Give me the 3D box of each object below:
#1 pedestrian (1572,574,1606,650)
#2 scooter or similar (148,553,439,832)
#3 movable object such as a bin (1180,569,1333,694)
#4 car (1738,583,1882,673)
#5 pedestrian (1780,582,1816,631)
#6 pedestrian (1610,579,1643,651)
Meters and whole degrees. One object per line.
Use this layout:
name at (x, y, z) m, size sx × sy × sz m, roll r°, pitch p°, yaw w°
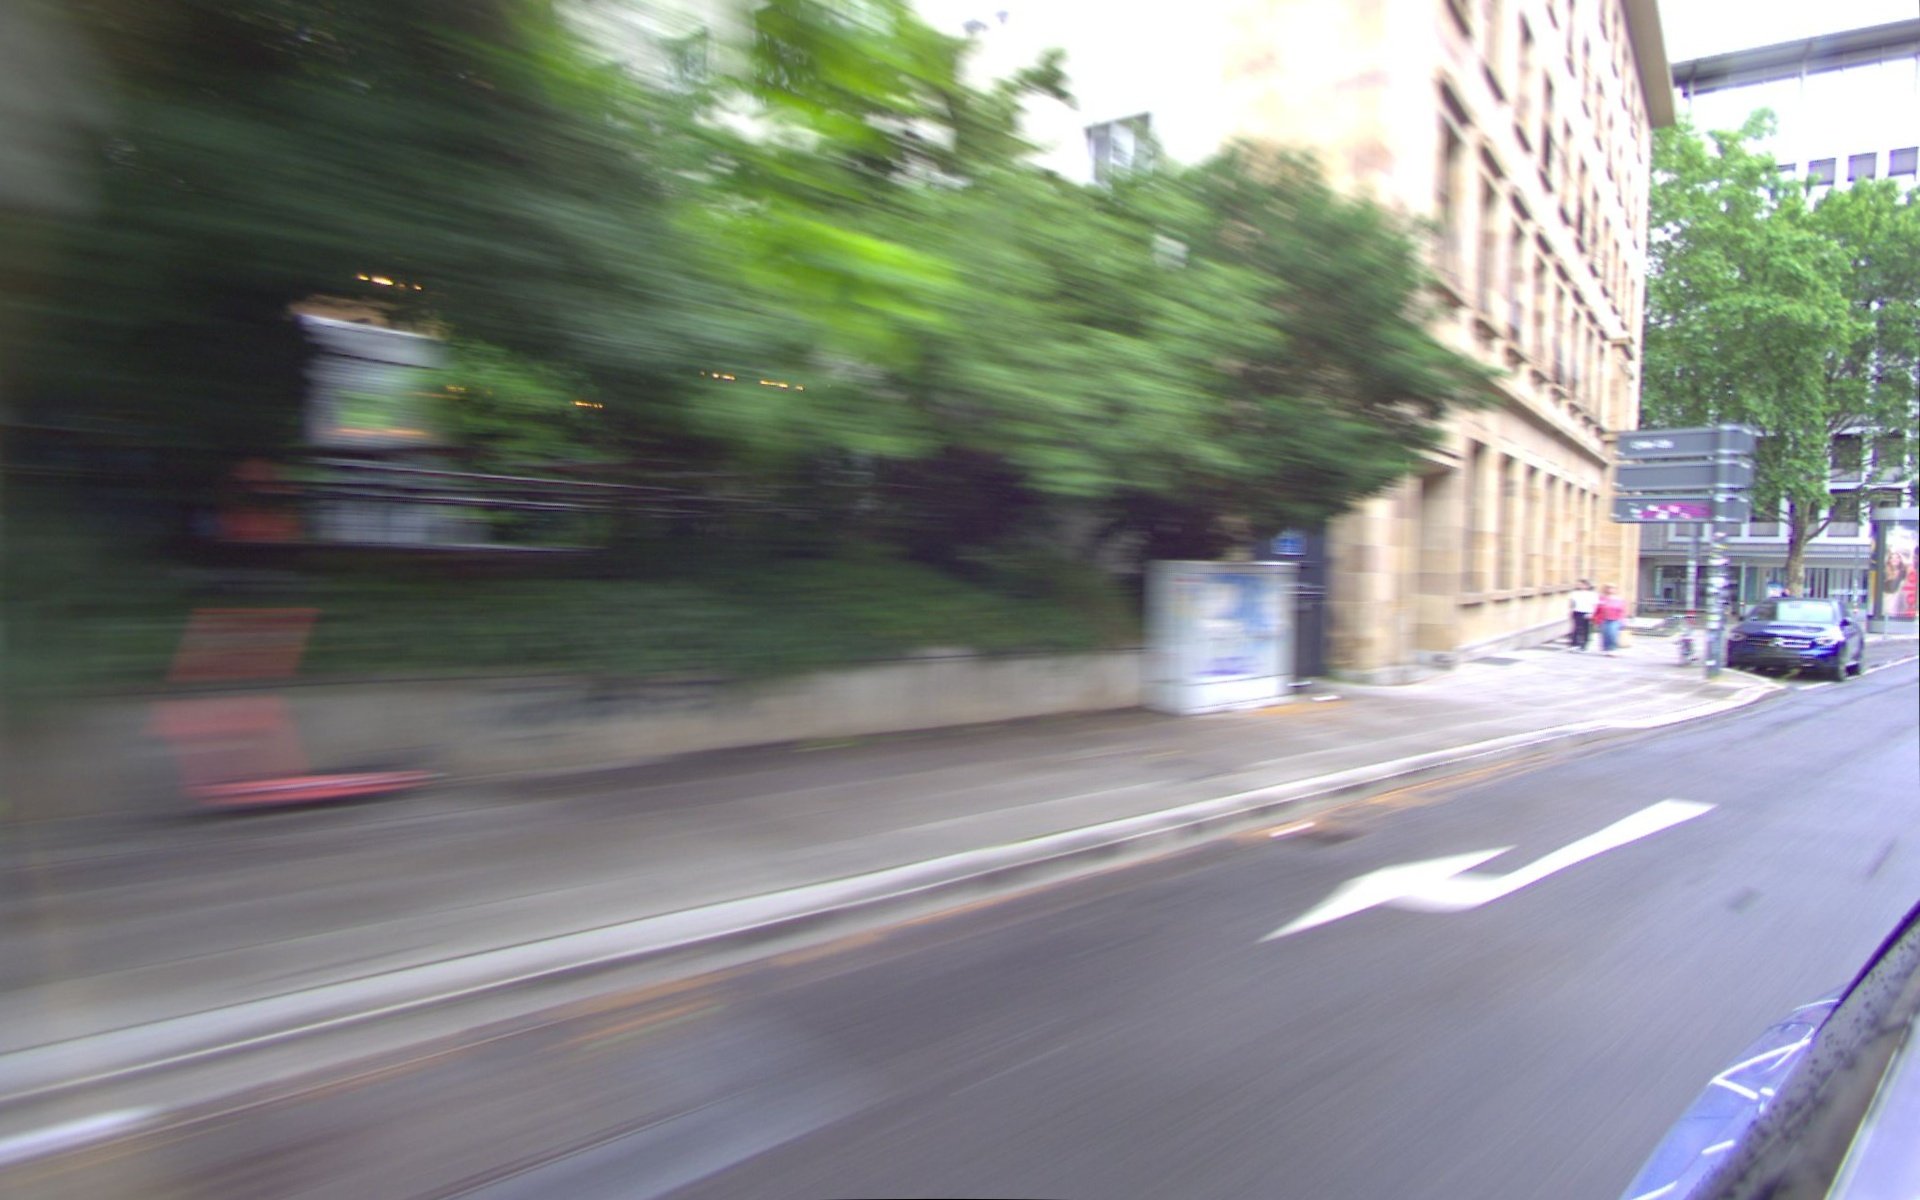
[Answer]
pedestrian at (13.780, 0.240, 22.171) m, size 0.523 × 1.622 × 0.664 m, roll 2°, pitch 2°, yaw 38°
scooter or similar at (-3.404, 0.422, 5.209) m, size 1.190 × 1.274 × 0.448 m, roll 0°, pitch 3°, yaw -41°
movable object such as a bin at (3.539, 0.334, 12.104) m, size 1.212 × 1.326 × 1.243 m, roll 0°, pitch 4°, yaw -40°
car at (17.853, 0.493, 21.195) m, size 4.087 × 1.639 × 1.771 m, roll -1°, pitch 3°, yaw -43°
pedestrian at (31.917, 0.236, 38.543) m, size 0.845 × 1.793 × 0.783 m, roll 0°, pitch 2°, yaw -31°
pedestrian at (14.473, 0.313, 21.970) m, size 0.523 × 1.510 × 0.665 m, roll 2°, pitch 2°, yaw 36°
